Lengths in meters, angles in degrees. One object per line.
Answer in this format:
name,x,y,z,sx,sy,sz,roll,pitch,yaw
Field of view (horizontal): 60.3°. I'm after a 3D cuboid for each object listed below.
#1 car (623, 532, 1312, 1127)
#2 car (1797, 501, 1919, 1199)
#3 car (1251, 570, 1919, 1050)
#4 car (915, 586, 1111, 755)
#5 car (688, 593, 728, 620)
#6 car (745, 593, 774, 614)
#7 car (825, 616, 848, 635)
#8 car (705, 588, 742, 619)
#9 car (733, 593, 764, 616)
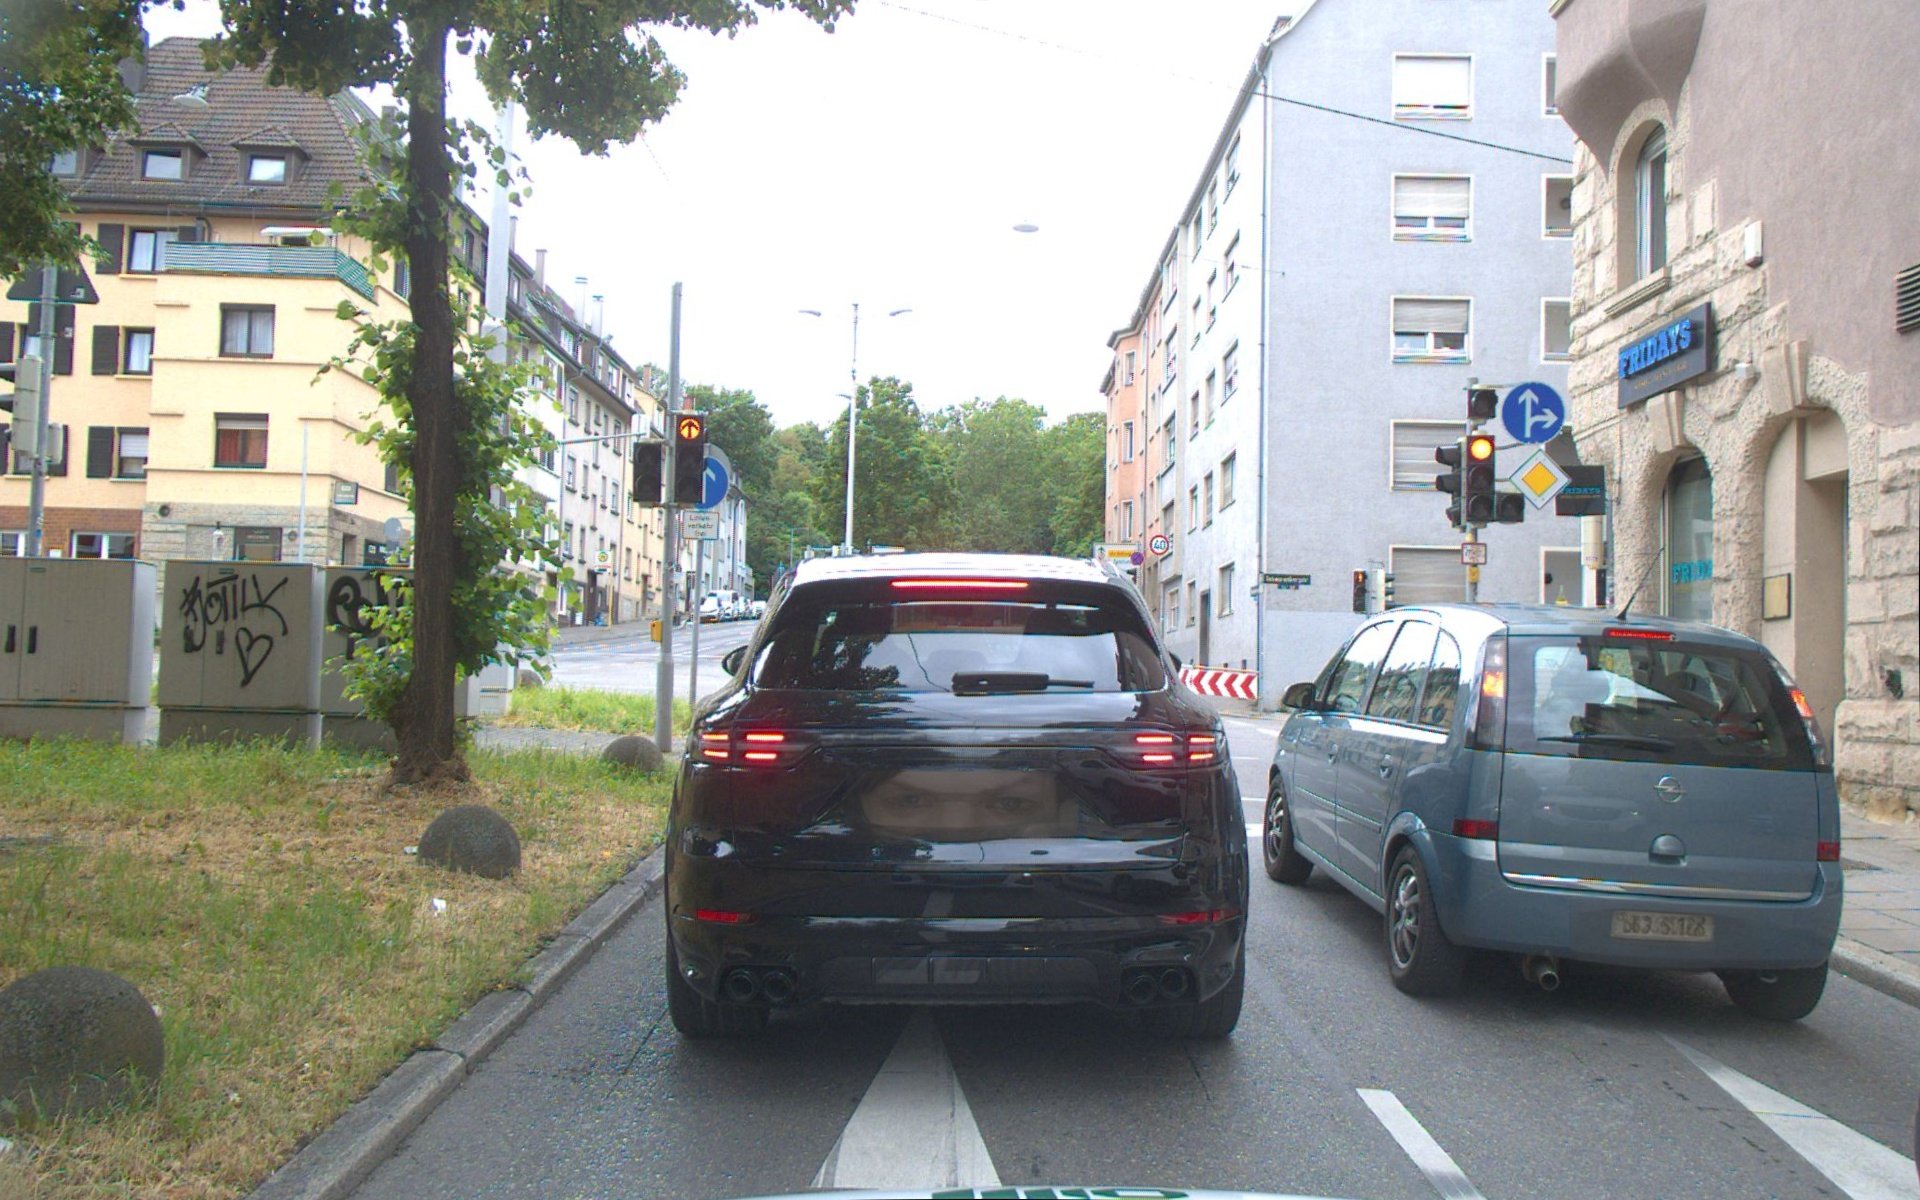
car,0.054,0.635,6.718,1.953,1.681,4.001,0,0,1
car,2.774,0.700,1.448,1.811,1.857,5.022,2,-1,4
car,2.646,0.774,7.848,1.717,1.621,3.629,4,0,-1
car,0.562,0.724,18.566,1.953,1.682,4.000,0,-1,1
car,-14.953,0.380,98.286,1.758,1.536,3.999,1,0,-1
car,-15.093,0.271,124.693,1.758,1.536,3.999,1,0,-1
car,-10.510,2.168,140.911,1.758,1.537,3.998,1,-2,-1
car,-14.773,0.196,103.313,1.758,1.841,3.999,1,0,-1
car,-14.874,0.300,116.535,1.758,1.536,3.999,1,0,-1
